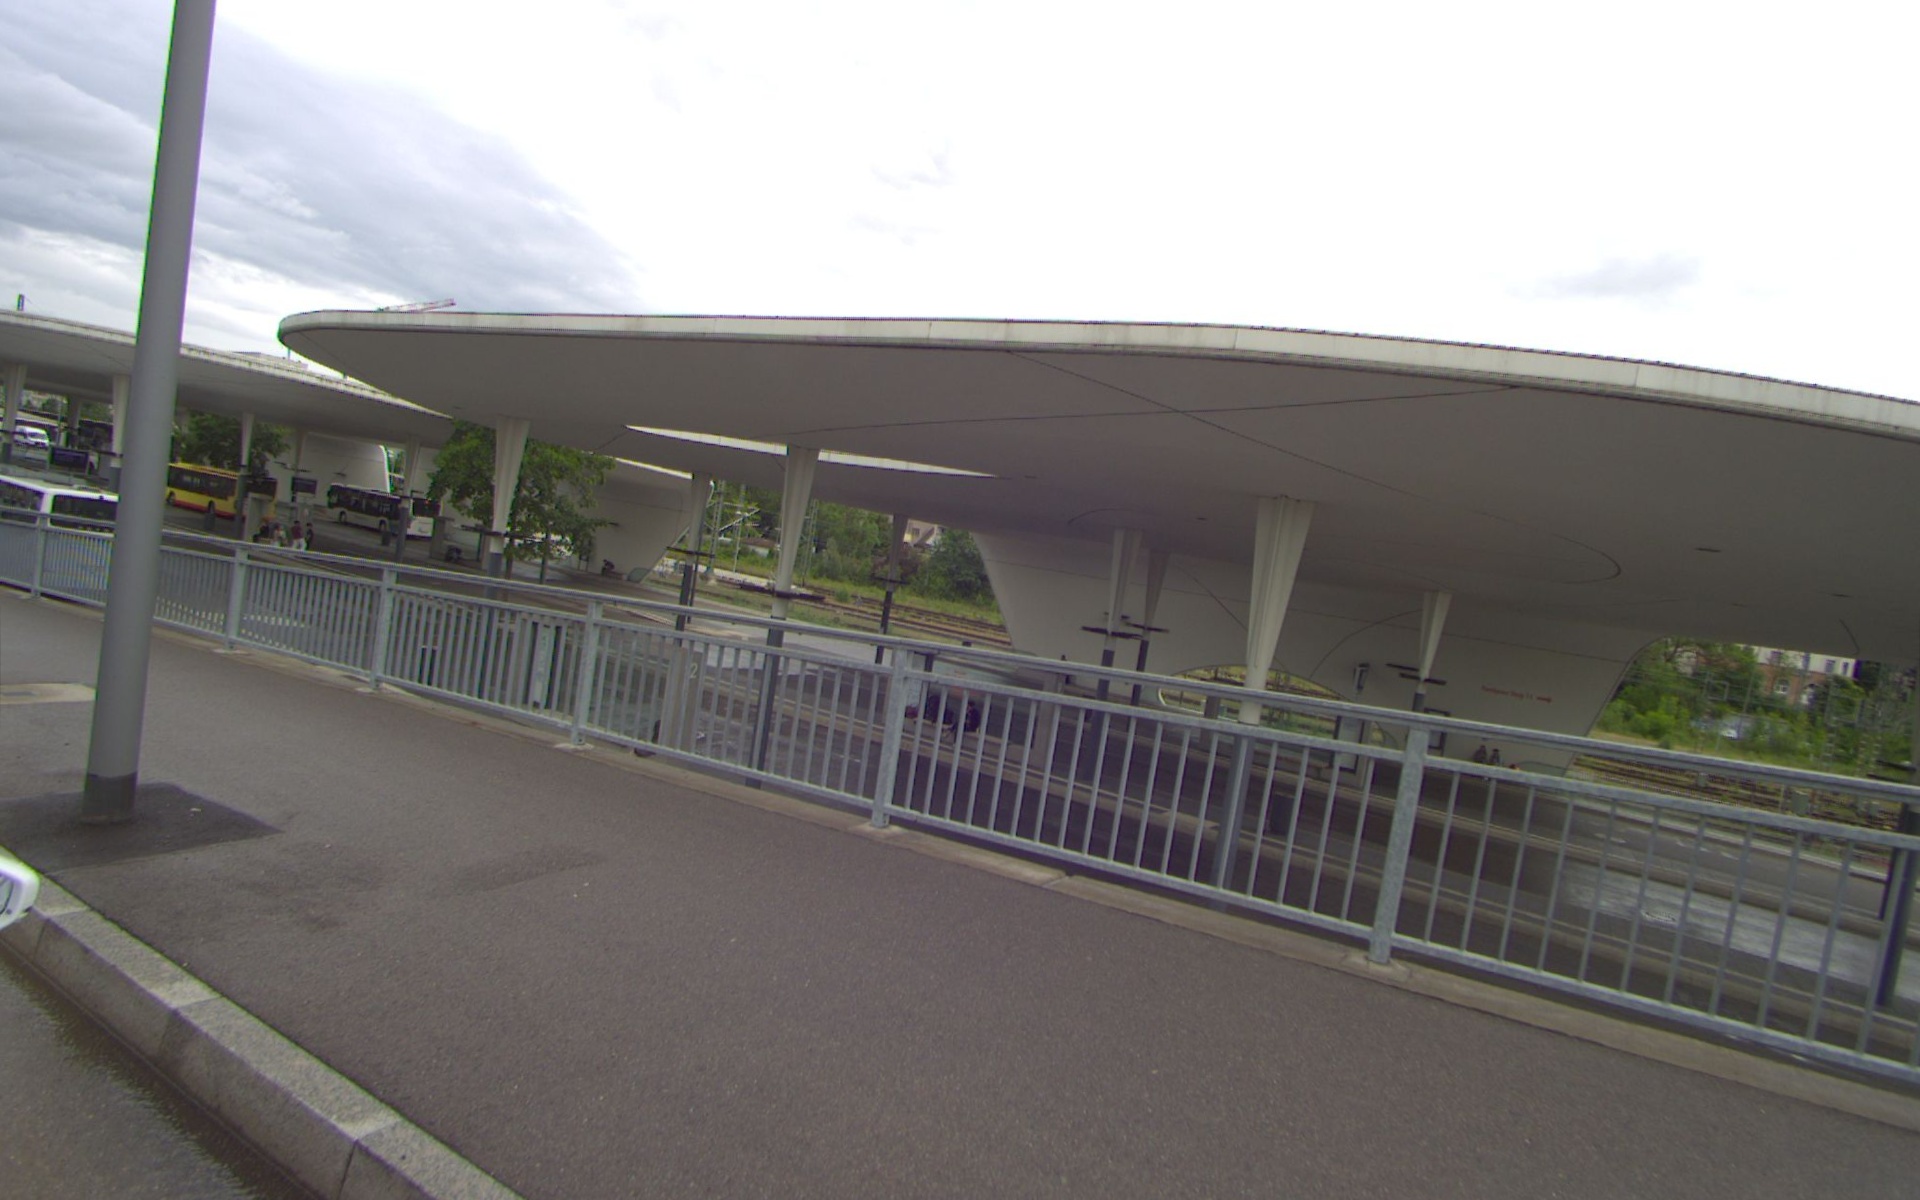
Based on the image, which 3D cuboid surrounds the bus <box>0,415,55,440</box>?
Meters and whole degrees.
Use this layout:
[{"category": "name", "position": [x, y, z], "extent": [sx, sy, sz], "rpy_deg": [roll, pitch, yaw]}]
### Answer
[{"category": "bus", "position": [-119.270, -21.886, 124.861], "extent": [2.132, 2.039, 10.183], "rpy_deg": [8, 1, 29]}]

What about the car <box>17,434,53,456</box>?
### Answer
[{"category": "car", "position": [-109.288, -18.277, 118.856], "extent": [3.933, 2.040, 1.995], "rpy_deg": [9, 2, 32]}]

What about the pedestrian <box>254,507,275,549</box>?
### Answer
[{"category": "pedestrian", "position": [-35.027, -3.629, 50.681], "extent": [0.570, 2.040, 0.544], "rpy_deg": [8, 2, 33]}]

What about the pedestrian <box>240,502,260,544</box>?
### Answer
[{"category": "pedestrian", "position": [-36.226, -3.943, 51.315], "extent": [0.570, 2.040, 0.544], "rpy_deg": [8, 2, 33]}]

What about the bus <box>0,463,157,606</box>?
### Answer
[{"category": "bus", "position": [-27.556, -2.109, 30.270], "extent": [6.948, 3.279, 2.649], "rpy_deg": [12, 4, 29]}]

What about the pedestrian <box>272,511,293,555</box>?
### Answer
[{"category": "pedestrian", "position": [-33.058, -3.262, 49.068], "extent": [0.475, 2.040, 0.560], "rpy_deg": [8, 2, 34]}]

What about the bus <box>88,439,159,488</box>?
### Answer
[{"category": "bus", "position": [-69.927, -11.392, 84.073], "extent": [6.880, 3.252, 2.600], "rpy_deg": [9, 3, 34]}]

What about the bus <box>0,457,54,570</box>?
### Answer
[{"category": "bus", "position": [-33.607, -3.263, 33.599], "extent": [6.948, 3.279, 2.649], "rpy_deg": [12, 4, 29]}]
